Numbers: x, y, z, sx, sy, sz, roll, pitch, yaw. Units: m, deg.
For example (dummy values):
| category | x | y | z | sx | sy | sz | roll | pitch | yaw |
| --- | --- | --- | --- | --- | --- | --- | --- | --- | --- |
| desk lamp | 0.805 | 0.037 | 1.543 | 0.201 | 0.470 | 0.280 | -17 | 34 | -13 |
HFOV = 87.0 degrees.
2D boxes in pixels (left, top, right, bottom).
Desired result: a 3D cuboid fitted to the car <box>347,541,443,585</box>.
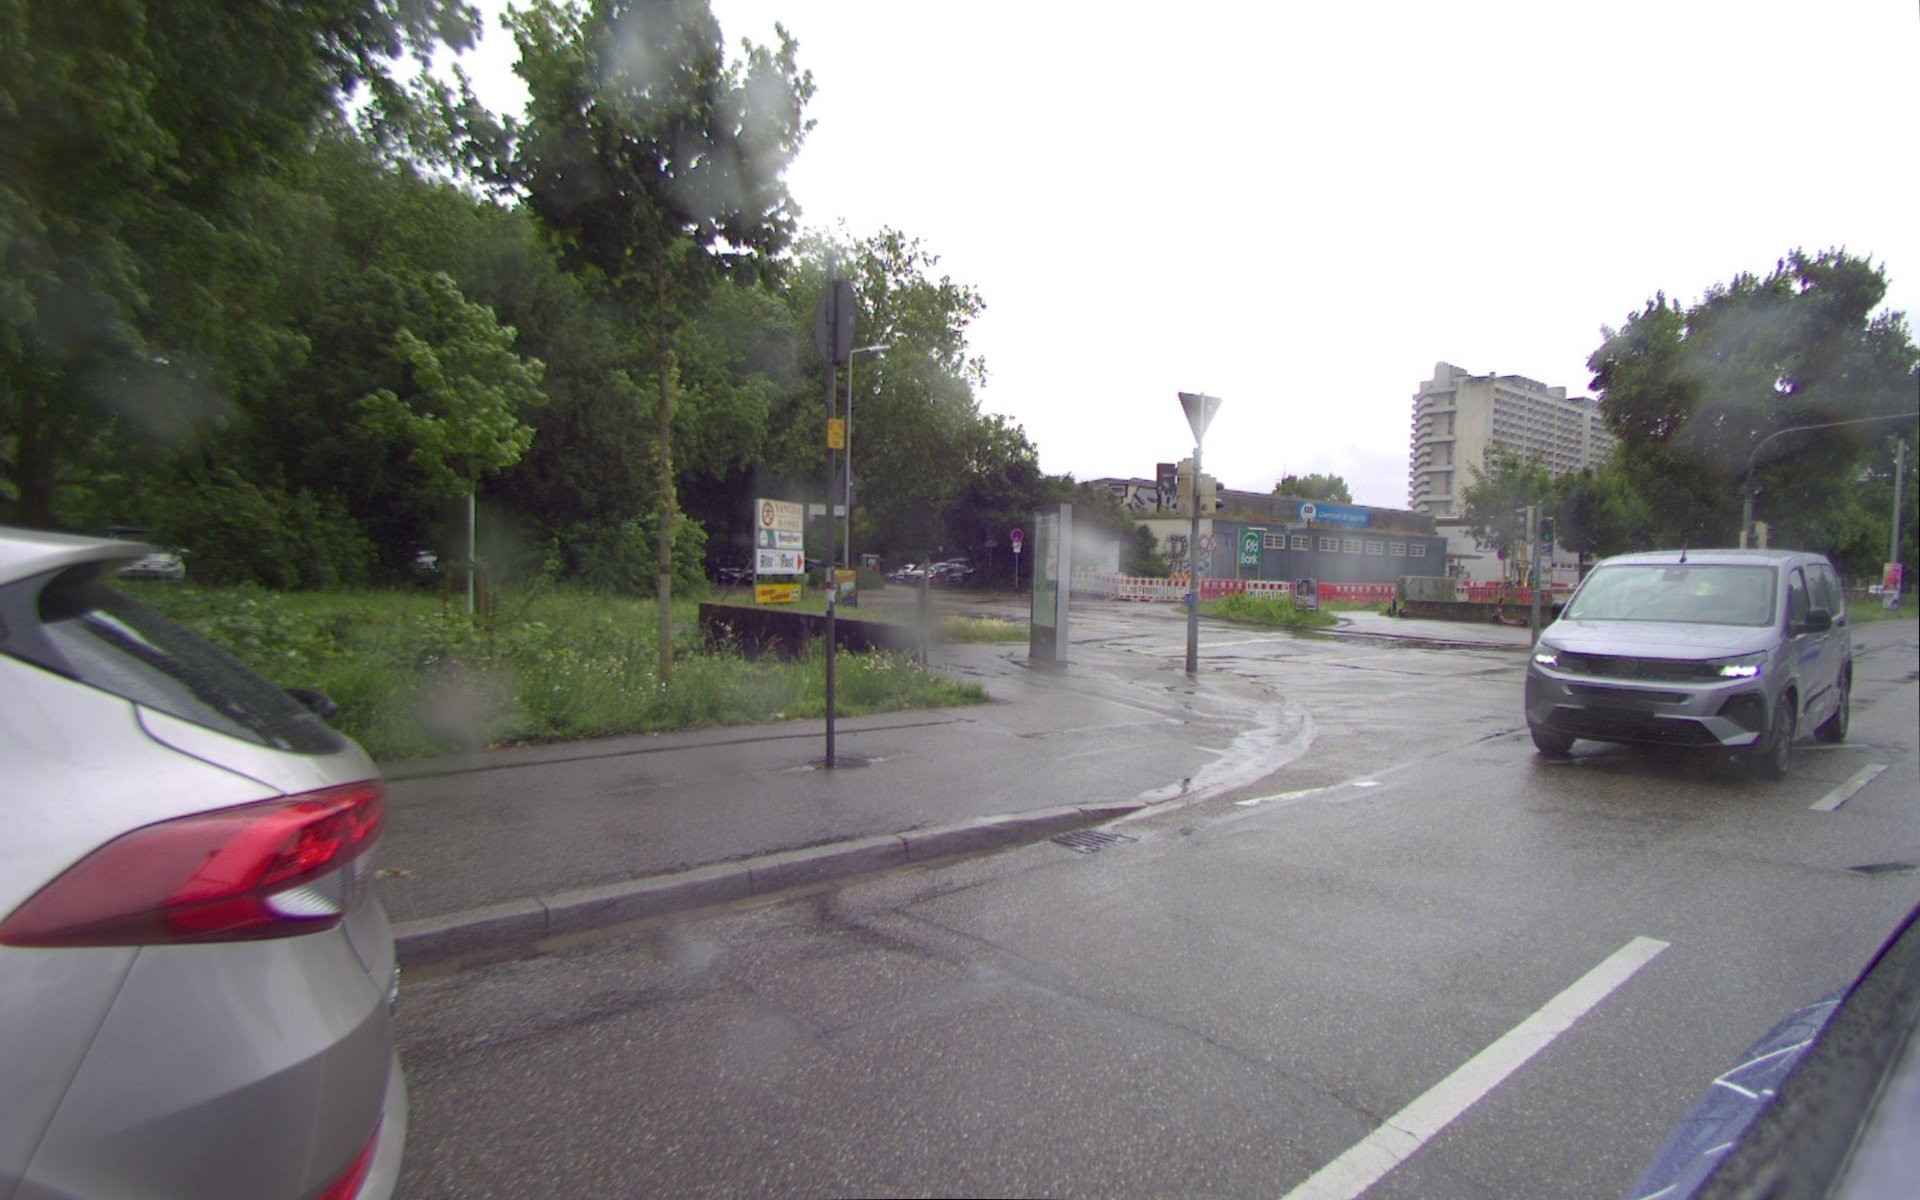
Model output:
| category | x | y | z | sx | sy | sz | roll | pitch | yaw |
| --- | --- | --- | --- | --- | --- | --- | --- | --- | --- |
| car | -21.855 | -1.400 | 39.075 | 4.583 | 1.603 | 1.897 | 1 | 1 | 42 |

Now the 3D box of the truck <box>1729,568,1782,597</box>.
| category | x | y | z | sx | sy | sz | roll | pitch | yaw |
| --- | --- | --- | --- | --- | --- | --- | --- | --- | --- |
| truck | 83.885 | -1.917 | 106.712 | 8.598 | 2.935 | 2.809 | -1 | 1 | -41 |

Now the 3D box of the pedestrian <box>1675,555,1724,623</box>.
| category | x | y | z | sx | sy | sz | roll | pitch | yaw |
| --- | --- | --- | --- | --- | --- | --- | --- | --- | --- |
| pedestrian | 19.371 | -0.303 | 26.540 | 0.660 | 1.698 | 0.786 | 5 | 5 | 17 |

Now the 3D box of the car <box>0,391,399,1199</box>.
| category | x | y | z | sx | sy | sz | roll | pitch | yaw |
| --- | --- | --- | --- | --- | --- | --- | --- | --- | --- |
| car | -2.866 | 0.566 | 0.566 | 4.125 | 1.630 | 1.886 | 1 | 1 | -44 |

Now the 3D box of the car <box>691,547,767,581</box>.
| category | x | y | z | sx | sy | sz | roll | pitch | yaw |
| --- | --- | --- | --- | --- | --- | --- | --- | --- | --- |
| car | -10.730 | -1.644 | 46.907 | 1.890 | 1.507 | 4.193 | -1 | 1 | -37 |

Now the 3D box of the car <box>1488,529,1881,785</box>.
| category | x | y | z | sx | sy | sz | roll | pitch | yaw |
| --- | --- | --- | --- | --- | --- | --- | --- | --- | --- |
| car | 6.886 | 0.350 | 9.423 | 4.483 | 1.818 | 1.997 | -1 | 2 | -41 |

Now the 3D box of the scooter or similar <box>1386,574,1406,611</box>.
| category | x | y | z | sx | sy | sz | roll | pitch | yaw |
| --- | --- | --- | --- | --- | --- | --- | --- | --- | --- |
| scooter or similar | 14.066 | -0.239 | 32.646 | 0.549 | 1.191 | 0.286 | 0 | 2 | -33 |

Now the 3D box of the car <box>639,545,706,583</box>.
| category | x | y | z | sx | sy | sz | roll | pitch | yaw |
| --- | --- | --- | --- | --- | --- | --- | --- | --- | --- |
| car | -12.991 | -1.602 | 45.672 | 1.689 | 1.617 | 3.667 | -1 | 1 | -37 |

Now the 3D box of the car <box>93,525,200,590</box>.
| category | x | y | z | sx | sy | sz | roll | pitch | yaw |
| --- | --- | --- | --- | --- | --- | --- | --- | --- | --- |
| car | -21.106 | -1.067 | 26.400 | 1.847 | 1.544 | 4.001 | -1 | 1 | -34 |

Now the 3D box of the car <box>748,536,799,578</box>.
| category | x | y | z | sx | sy | sz | roll | pitch | yaw |
| --- | --- | --- | --- | --- | --- | --- | --- | --- | --- |
| car | -9.190 | -2.067 | 49.640 | 1.885 | 1.989 | 4.204 | -1 | 1 | -19 |

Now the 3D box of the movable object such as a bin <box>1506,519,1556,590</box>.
| category | x | y | z | sx | sy | sz | roll | pitch | yaw |
| --- | --- | --- | --- | --- | --- | --- | --- | --- | --- |
| movable object such as a bin | 37.145 | -2.904 | 65.802 | 3.838 | 4.481 | 1.557 | -1 | 1 | -39 |

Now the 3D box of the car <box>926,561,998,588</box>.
| category | x | y | z | sx | sy | sz | roll | pitch | yaw |
| --- | --- | --- | --- | --- | --- | --- | --- | --- | --- |
| car | 0.098 | -1.511 | 59.643 | 3.916 | 1.529 | 1.706 | -1 | 1 | -14 |

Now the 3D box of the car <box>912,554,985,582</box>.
| category | x | y | z | sx | sy | sz | roll | pitch | yaw |
| --- | --- | --- | --- | --- | --- | --- | --- | --- | --- |
| car | -0.740 | -1.977 | 62.262 | 4.123 | 1.592 | 1.811 | 1 | 2 | -14 |

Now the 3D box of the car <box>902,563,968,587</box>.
| category | x | y | z | sx | sy | sz | roll | pitch | yaw |
| --- | --- | --- | --- | --- | --- | --- | --- | --- | --- |
| car | -1.627 | -1.613 | 64.965 | 3.916 | 1.529 | 1.706 | -1 | 1 | -14 |

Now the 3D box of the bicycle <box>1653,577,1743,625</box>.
| category | x | y | z | sx | sy | sz | roll | pitch | yaw |
| --- | --- | --- | --- | --- | --- | --- | --- | --- | --- |
| bicycle | 19.337 | 0.013 | 26.569 | 1.642 | 1.050 | 0.785 | 5 | 5 | 17 |

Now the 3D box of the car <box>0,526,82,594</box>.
| category | x | y | z | sx | sy | sz | roll | pitch | yaw |
| --- | --- | --- | --- | --- | --- | --- | --- | --- | --- |
| car | -22.475 | -0.896 | 24.021 | 2.128 | 1.467 | 5.413 | -1 | 1 | -38 |

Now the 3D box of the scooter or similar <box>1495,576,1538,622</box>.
| category | x | y | z | sx | sy | sz | roll | pitch | yaw |
| --- | --- | --- | --- | --- | --- | --- | --- | --- | --- |
| scooter or similar | 16.115 | -0.039 | 29.308 | 0.316 | 1.244 | 0.961 | 0 | 5 | -35 |
